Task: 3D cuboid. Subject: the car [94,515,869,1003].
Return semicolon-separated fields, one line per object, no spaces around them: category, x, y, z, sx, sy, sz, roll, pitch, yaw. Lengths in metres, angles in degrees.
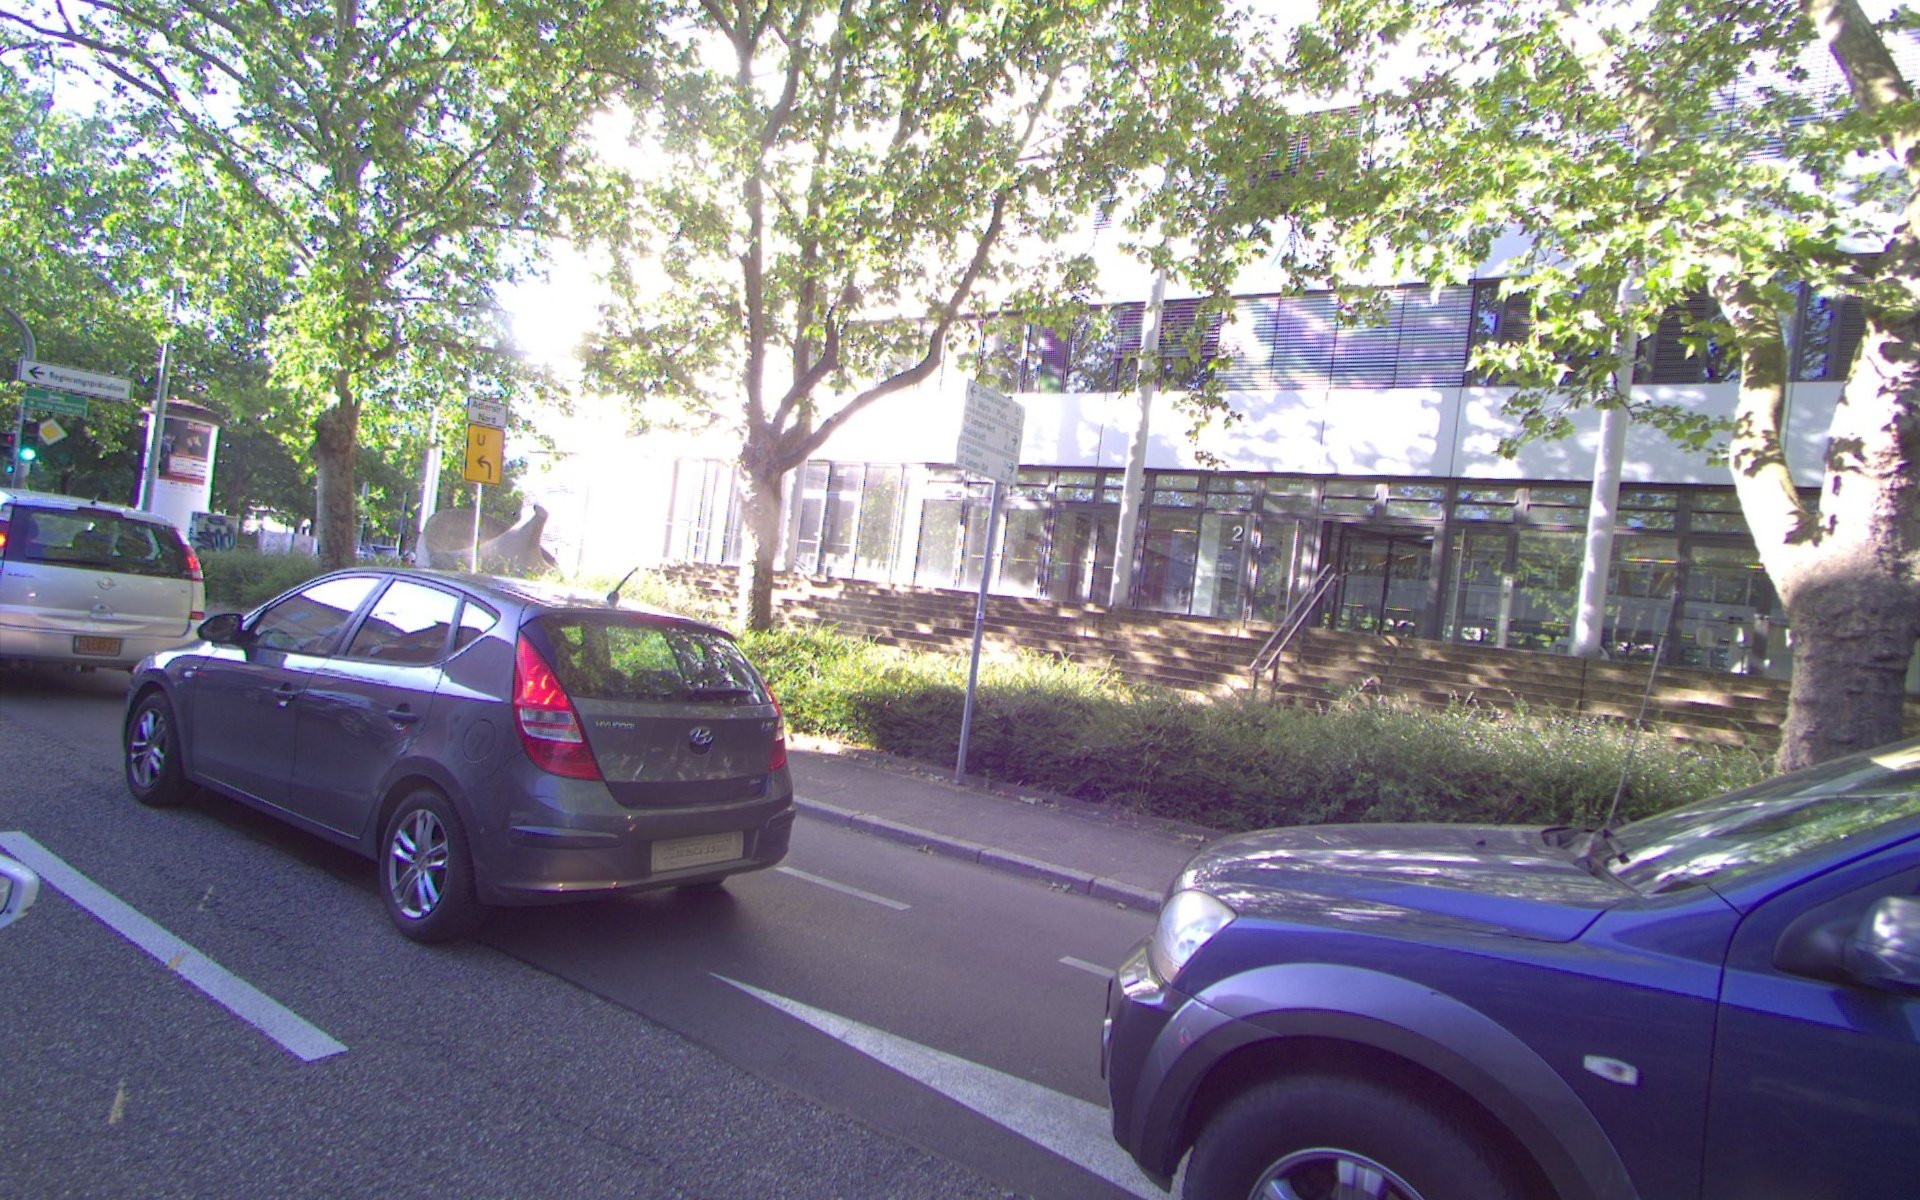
car;-2.613;0.559;5.242;3.910;1.498;1.648;7;-3;32

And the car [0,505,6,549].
car;-14.161;-0.744;12.666;4.592;1.481;1.917;7;-2;32

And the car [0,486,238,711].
car;-8.398;-0.133;9.054;3.797;1.620;1.705;7;-3;34

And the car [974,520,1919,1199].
car;2.402;1.013;2.016;4.312;1.790;1.785;7;-3;32
